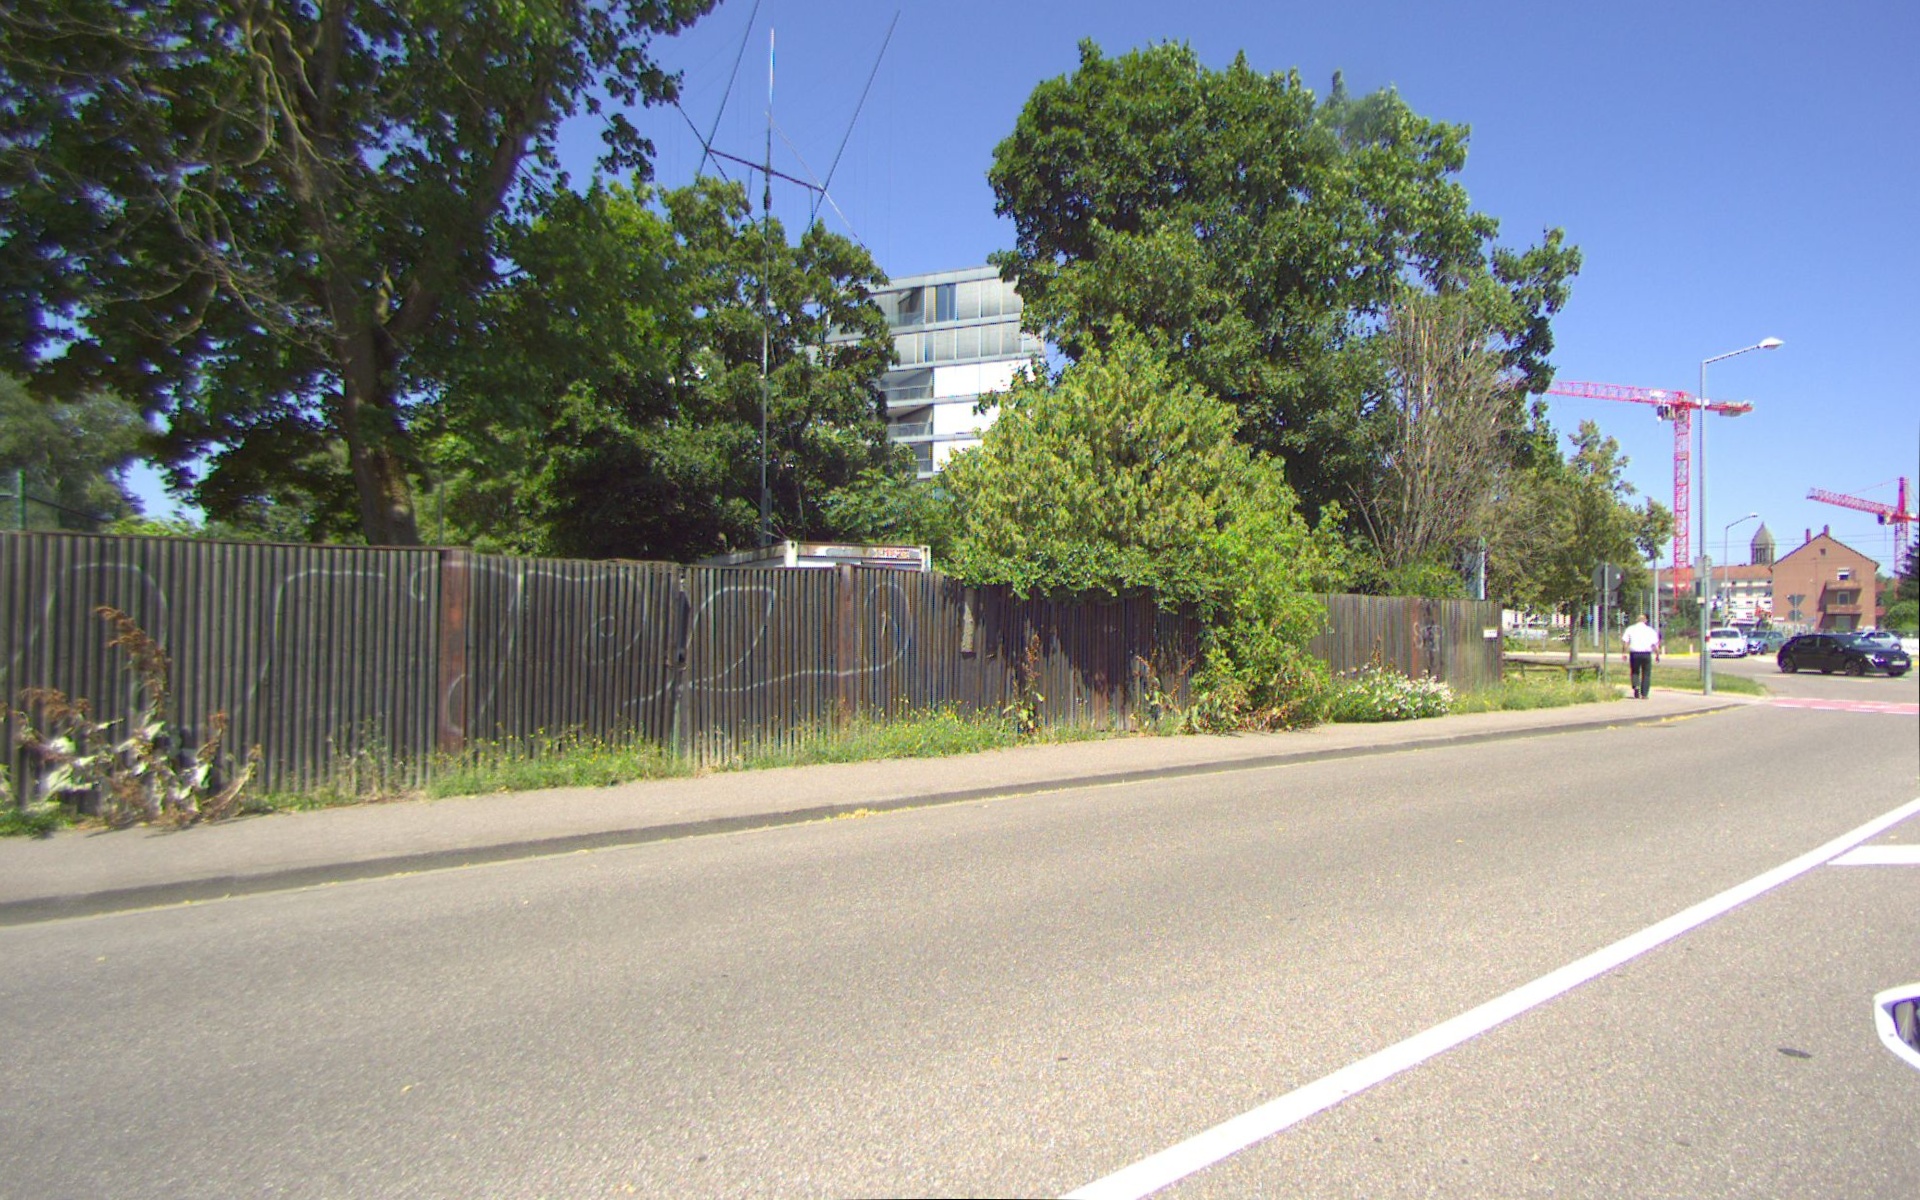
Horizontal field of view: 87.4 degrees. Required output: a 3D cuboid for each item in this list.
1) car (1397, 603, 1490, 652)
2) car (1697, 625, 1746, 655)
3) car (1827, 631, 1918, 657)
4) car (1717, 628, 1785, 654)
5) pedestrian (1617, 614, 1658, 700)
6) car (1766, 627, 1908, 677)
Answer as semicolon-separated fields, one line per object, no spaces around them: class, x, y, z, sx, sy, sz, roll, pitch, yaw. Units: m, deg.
car;30.568;1.684;63.811;1.962;2.865;6.877;2;0;-6
car;41.022;2.106;54.066;1.756;1.547;3.851;-1;-2;43
car;56.660;2.727;62.391;4.188;1.421;1.732;2;0;-3
car;46.320;2.394;58.795;4.282;1.390;1.737;2;0;-31
pedestrian;14.787;1.223;21.922;0.628;1.810;0.965;2;0;38
car;30.708;1.780;35.331;1.693;1.572;4.002;-2;-1;5
